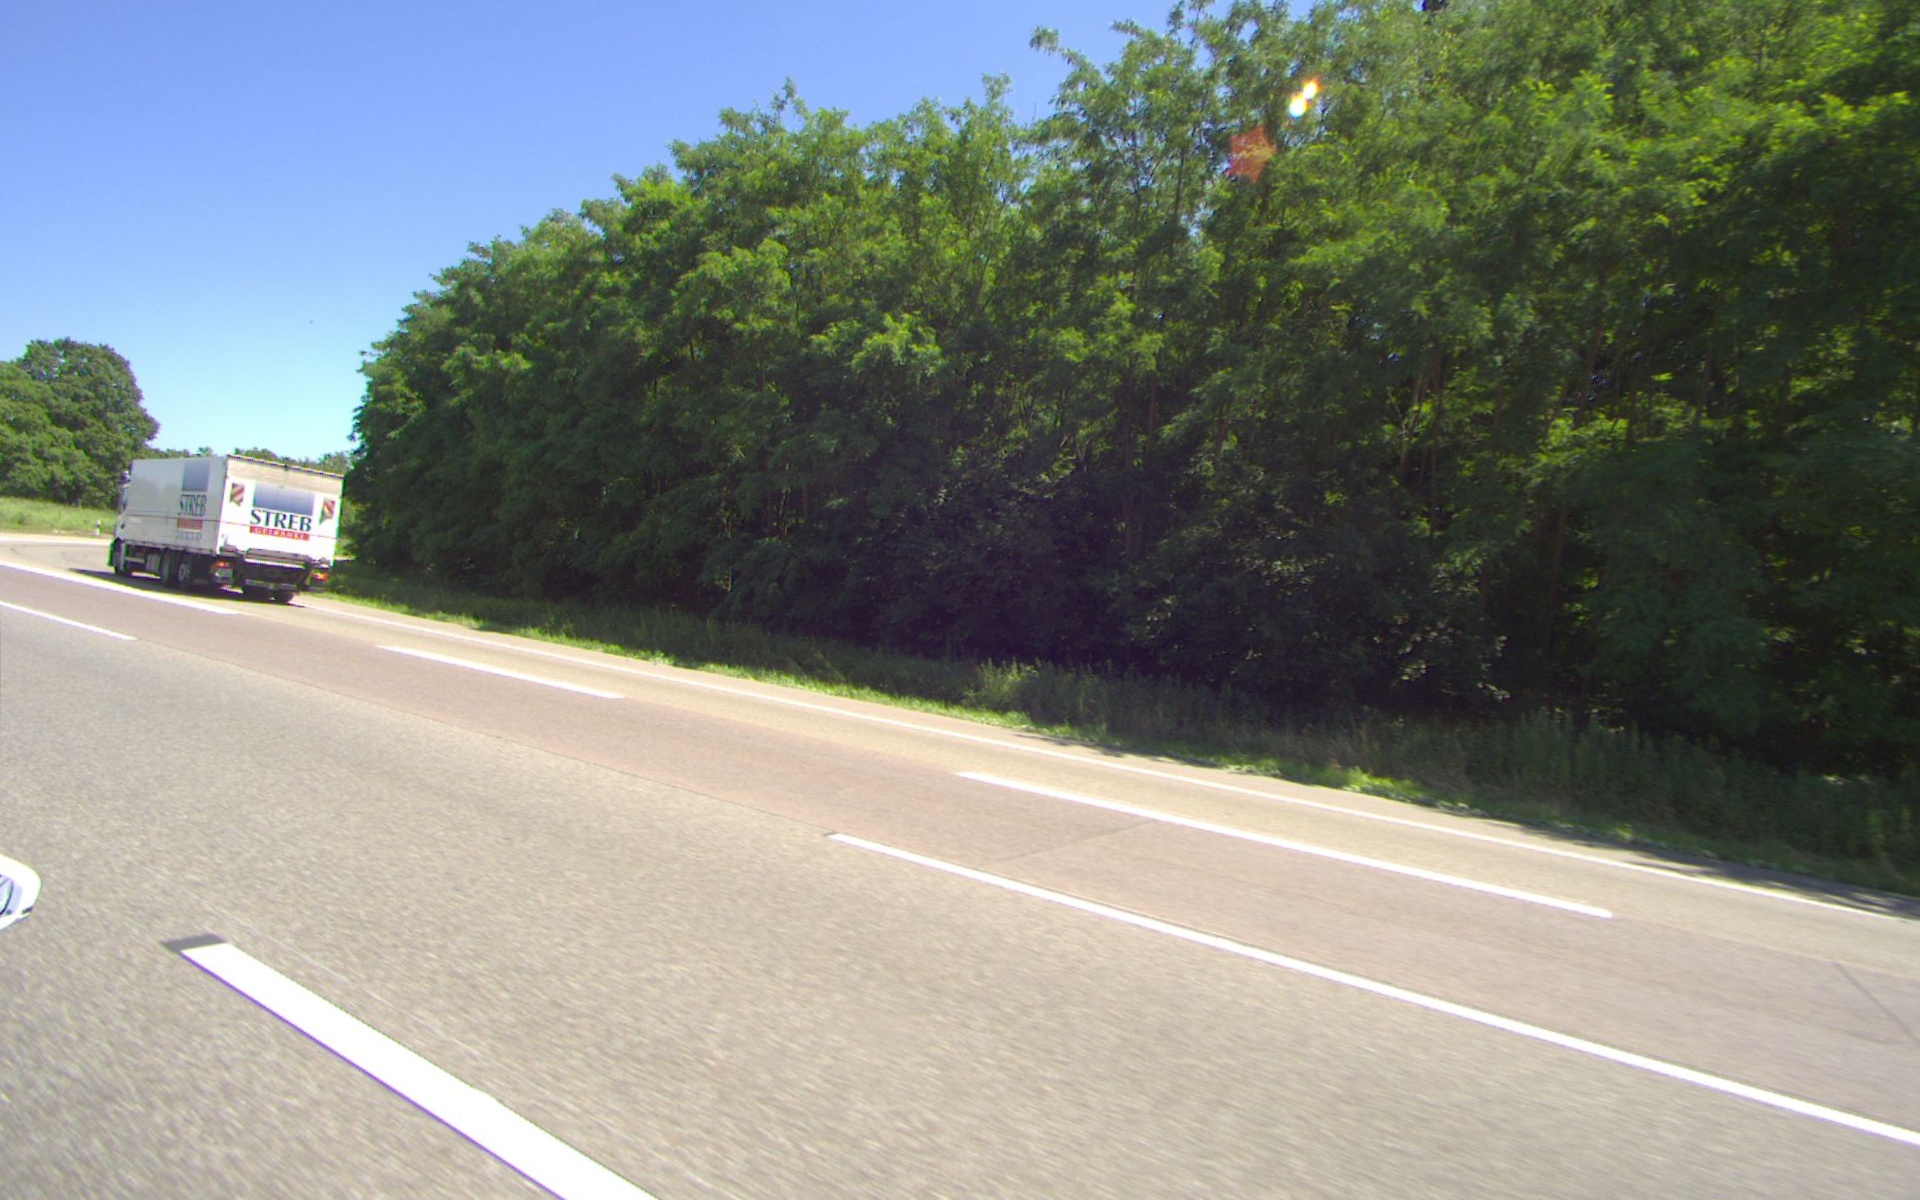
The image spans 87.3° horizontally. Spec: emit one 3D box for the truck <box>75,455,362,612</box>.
[{"bbox_3d":[-20.609,-1.953,27.606,10.604,3.358,3.031,6,-2,36],"label":"truck"}]
